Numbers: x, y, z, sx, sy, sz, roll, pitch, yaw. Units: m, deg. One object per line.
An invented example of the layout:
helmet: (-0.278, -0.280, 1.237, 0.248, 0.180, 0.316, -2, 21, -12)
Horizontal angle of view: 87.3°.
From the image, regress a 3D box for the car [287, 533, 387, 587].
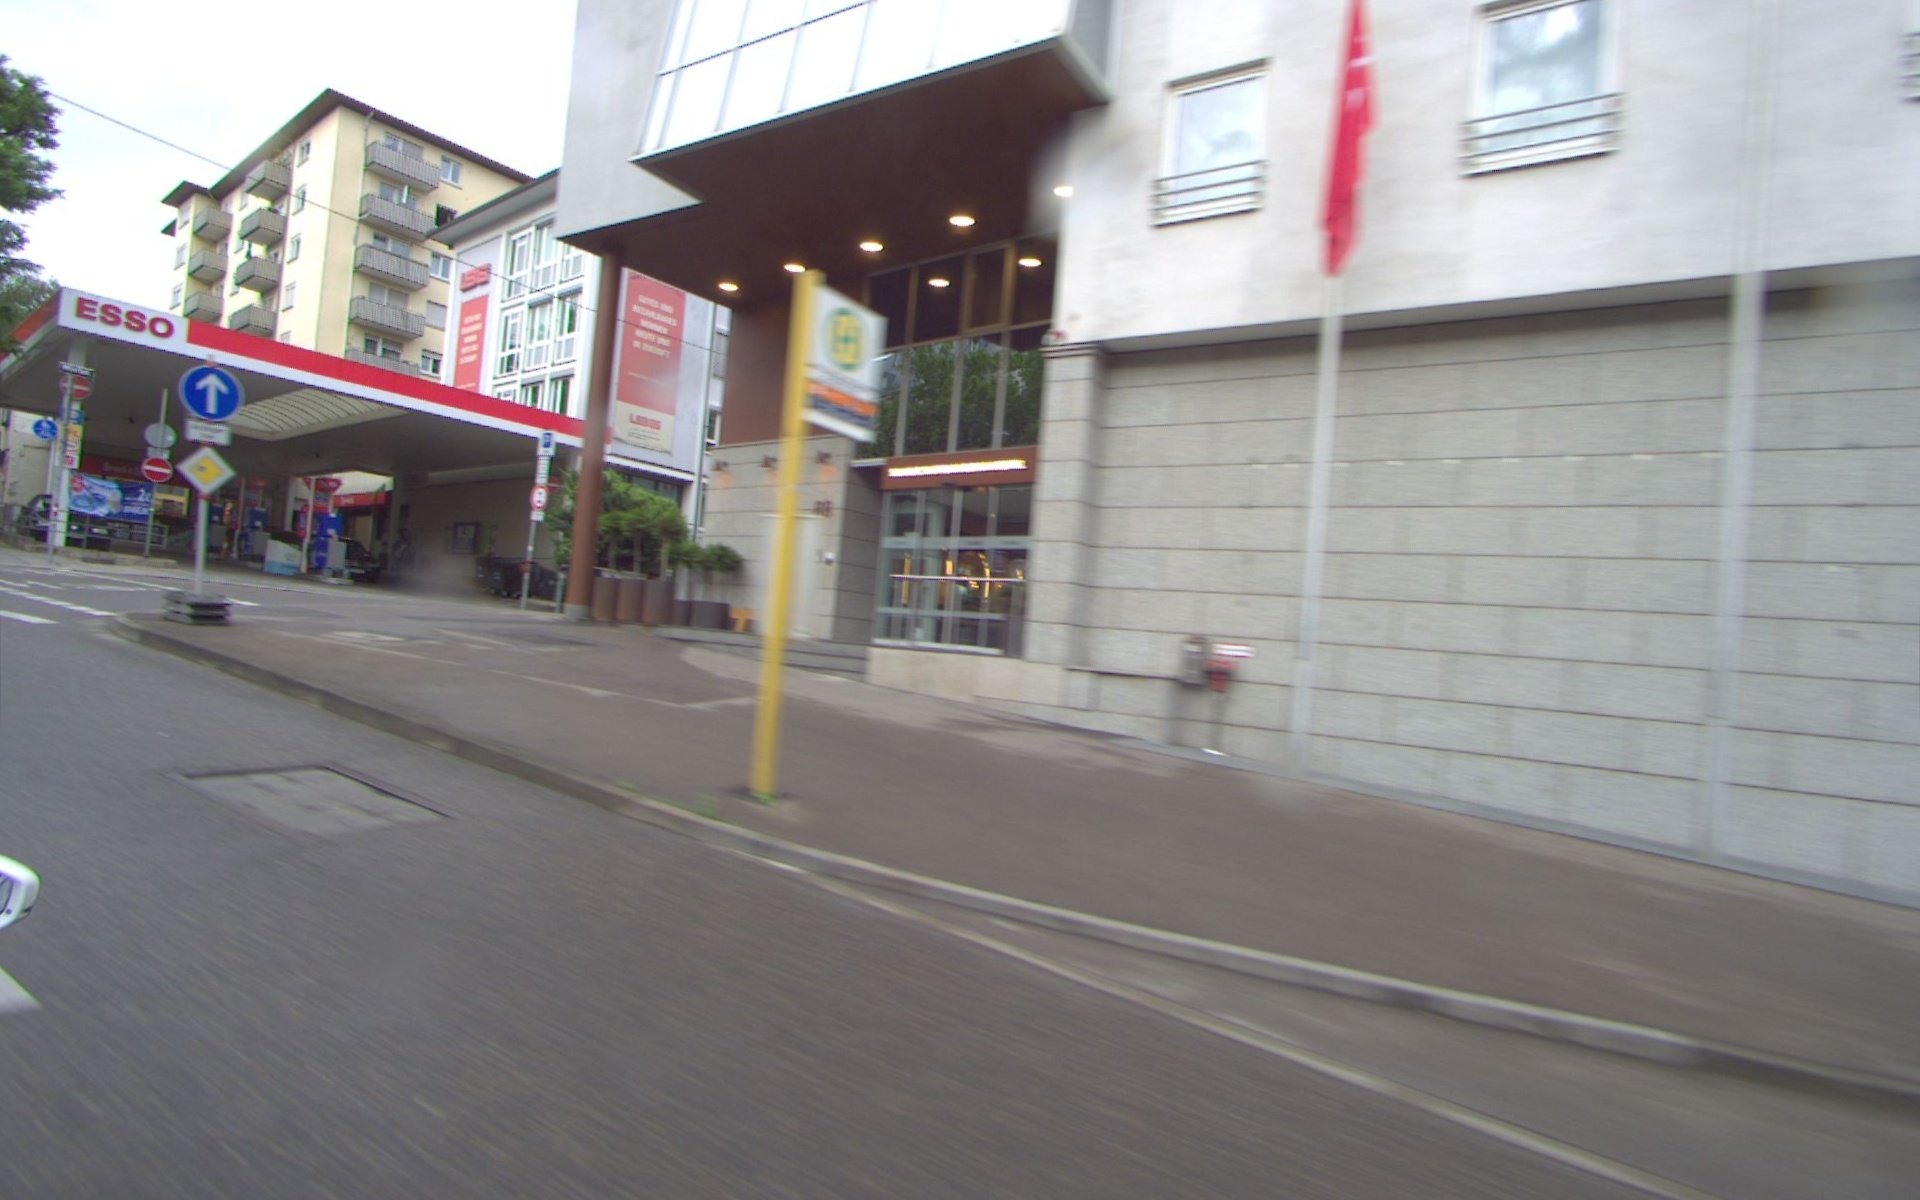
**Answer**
car: (-22.475, -1.456, 36.252, 3.944, 1.526, 1.794, 4, -4, 40)

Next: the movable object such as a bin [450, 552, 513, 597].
movable object such as a bin: (-18.659, -0.995, 39.202, 2.472, 1.443, 1.162, 6, -1, 40)

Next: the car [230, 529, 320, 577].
car: (-27.648, -1.909, 40.554, 4.172, 1.526, 1.794, 4, -4, 40)

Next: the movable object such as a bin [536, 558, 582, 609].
movable object such as a bin: (-13.748, -0.573, 34.498, 1.341, 1.584, 0.763, 6, -1, 40)

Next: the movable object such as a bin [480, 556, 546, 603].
movable object such as a bin: (-16.684, -0.779, 37.531, 2.472, 1.443, 1.162, 6, -1, 40)

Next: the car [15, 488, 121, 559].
car: (-24.681, -2.114, 27.783, 3.815, 1.644, 1.768, 5, 0, 43)
